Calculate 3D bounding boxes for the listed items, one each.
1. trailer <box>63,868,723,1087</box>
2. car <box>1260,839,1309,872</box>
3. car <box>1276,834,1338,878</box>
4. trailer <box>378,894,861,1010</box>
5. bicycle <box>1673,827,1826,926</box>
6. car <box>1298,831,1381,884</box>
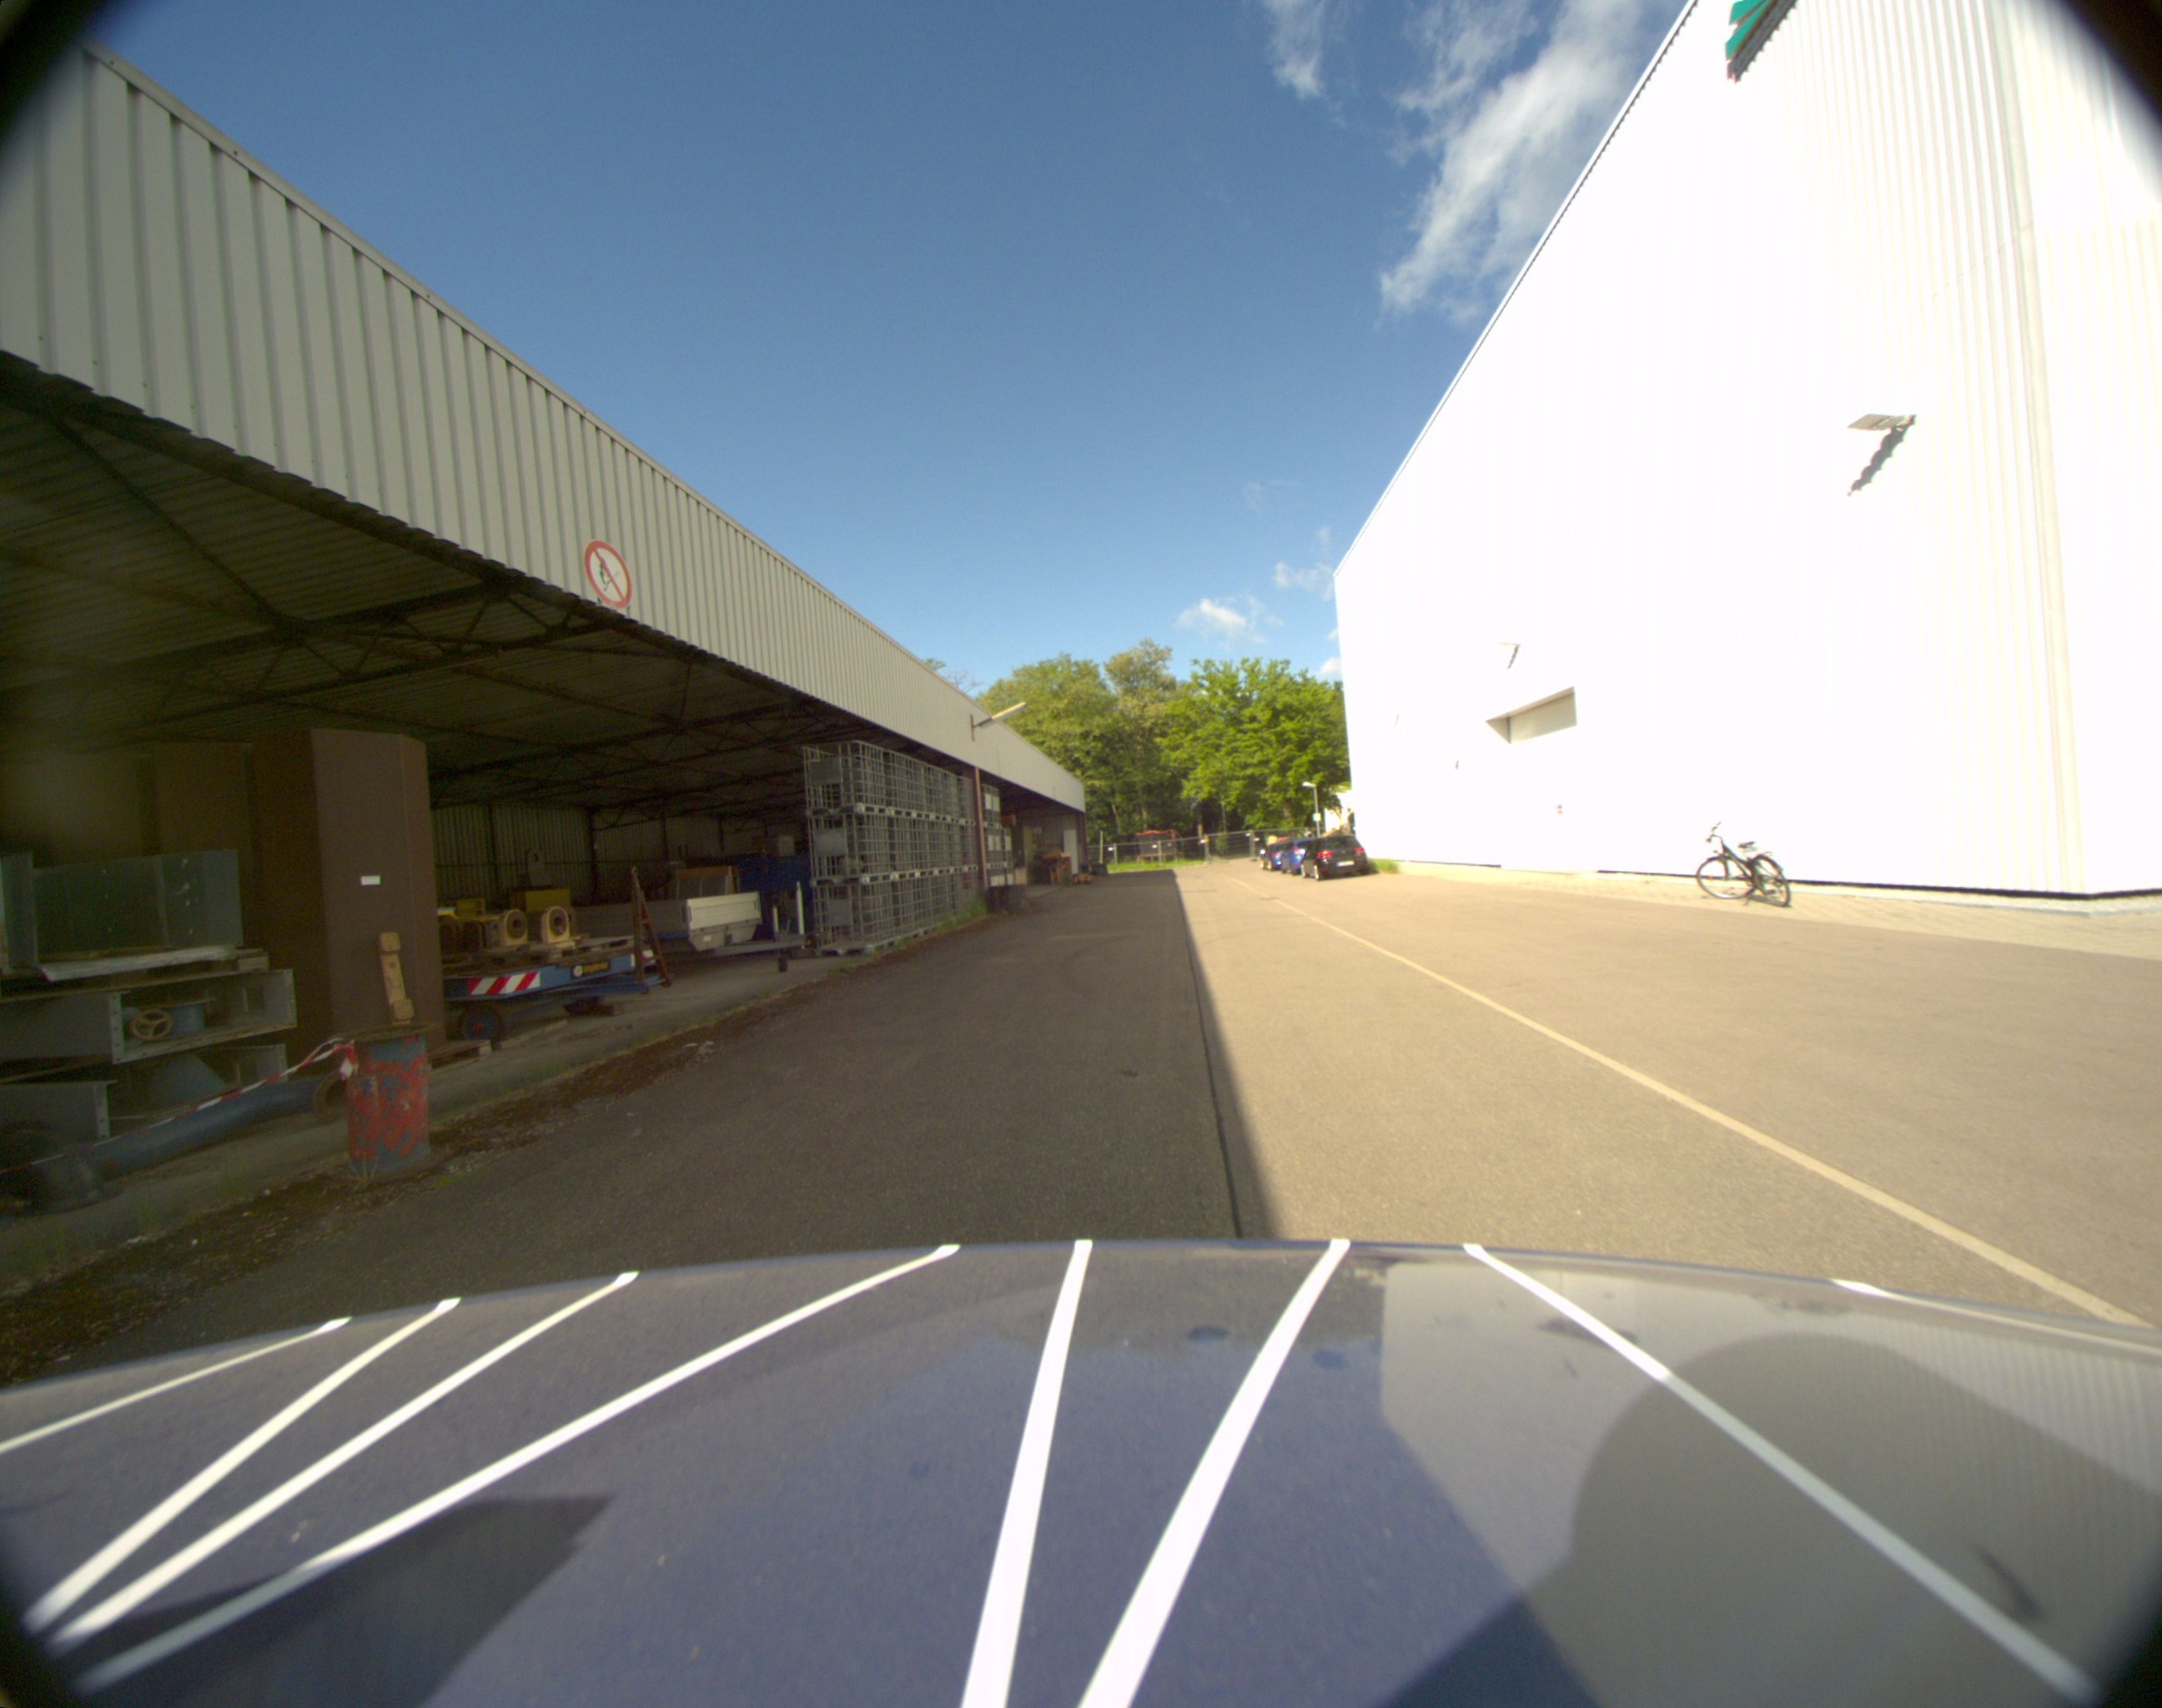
[{"bbox_3d":[-6.519,1.118,7.580,4.877,1.619,2.030,-3,1,5],"label":"trailer"},{"bbox_3d":[9.872,0.021,37.138,1.789,1.432,4.002,-3,1,8],"label":"car"},{"bbox_3d":[9.382,0.046,31.826,1.789,1.513,4.002,-7,0,8],"label":"car"},{"bbox_3d":[-6.409,1.354,10.943,5.835,1.113,2.030,-3,0,5],"label":"trailer"},{"bbox_3d":[9.172,0.265,10.540,0.908,1.136,1.902,-7,0,22],"label":"bicycle"},{"bbox_3d":[8.921,0.087,26.592,1.894,1.513,4.002,-7,0,8],"label":"car"}]
